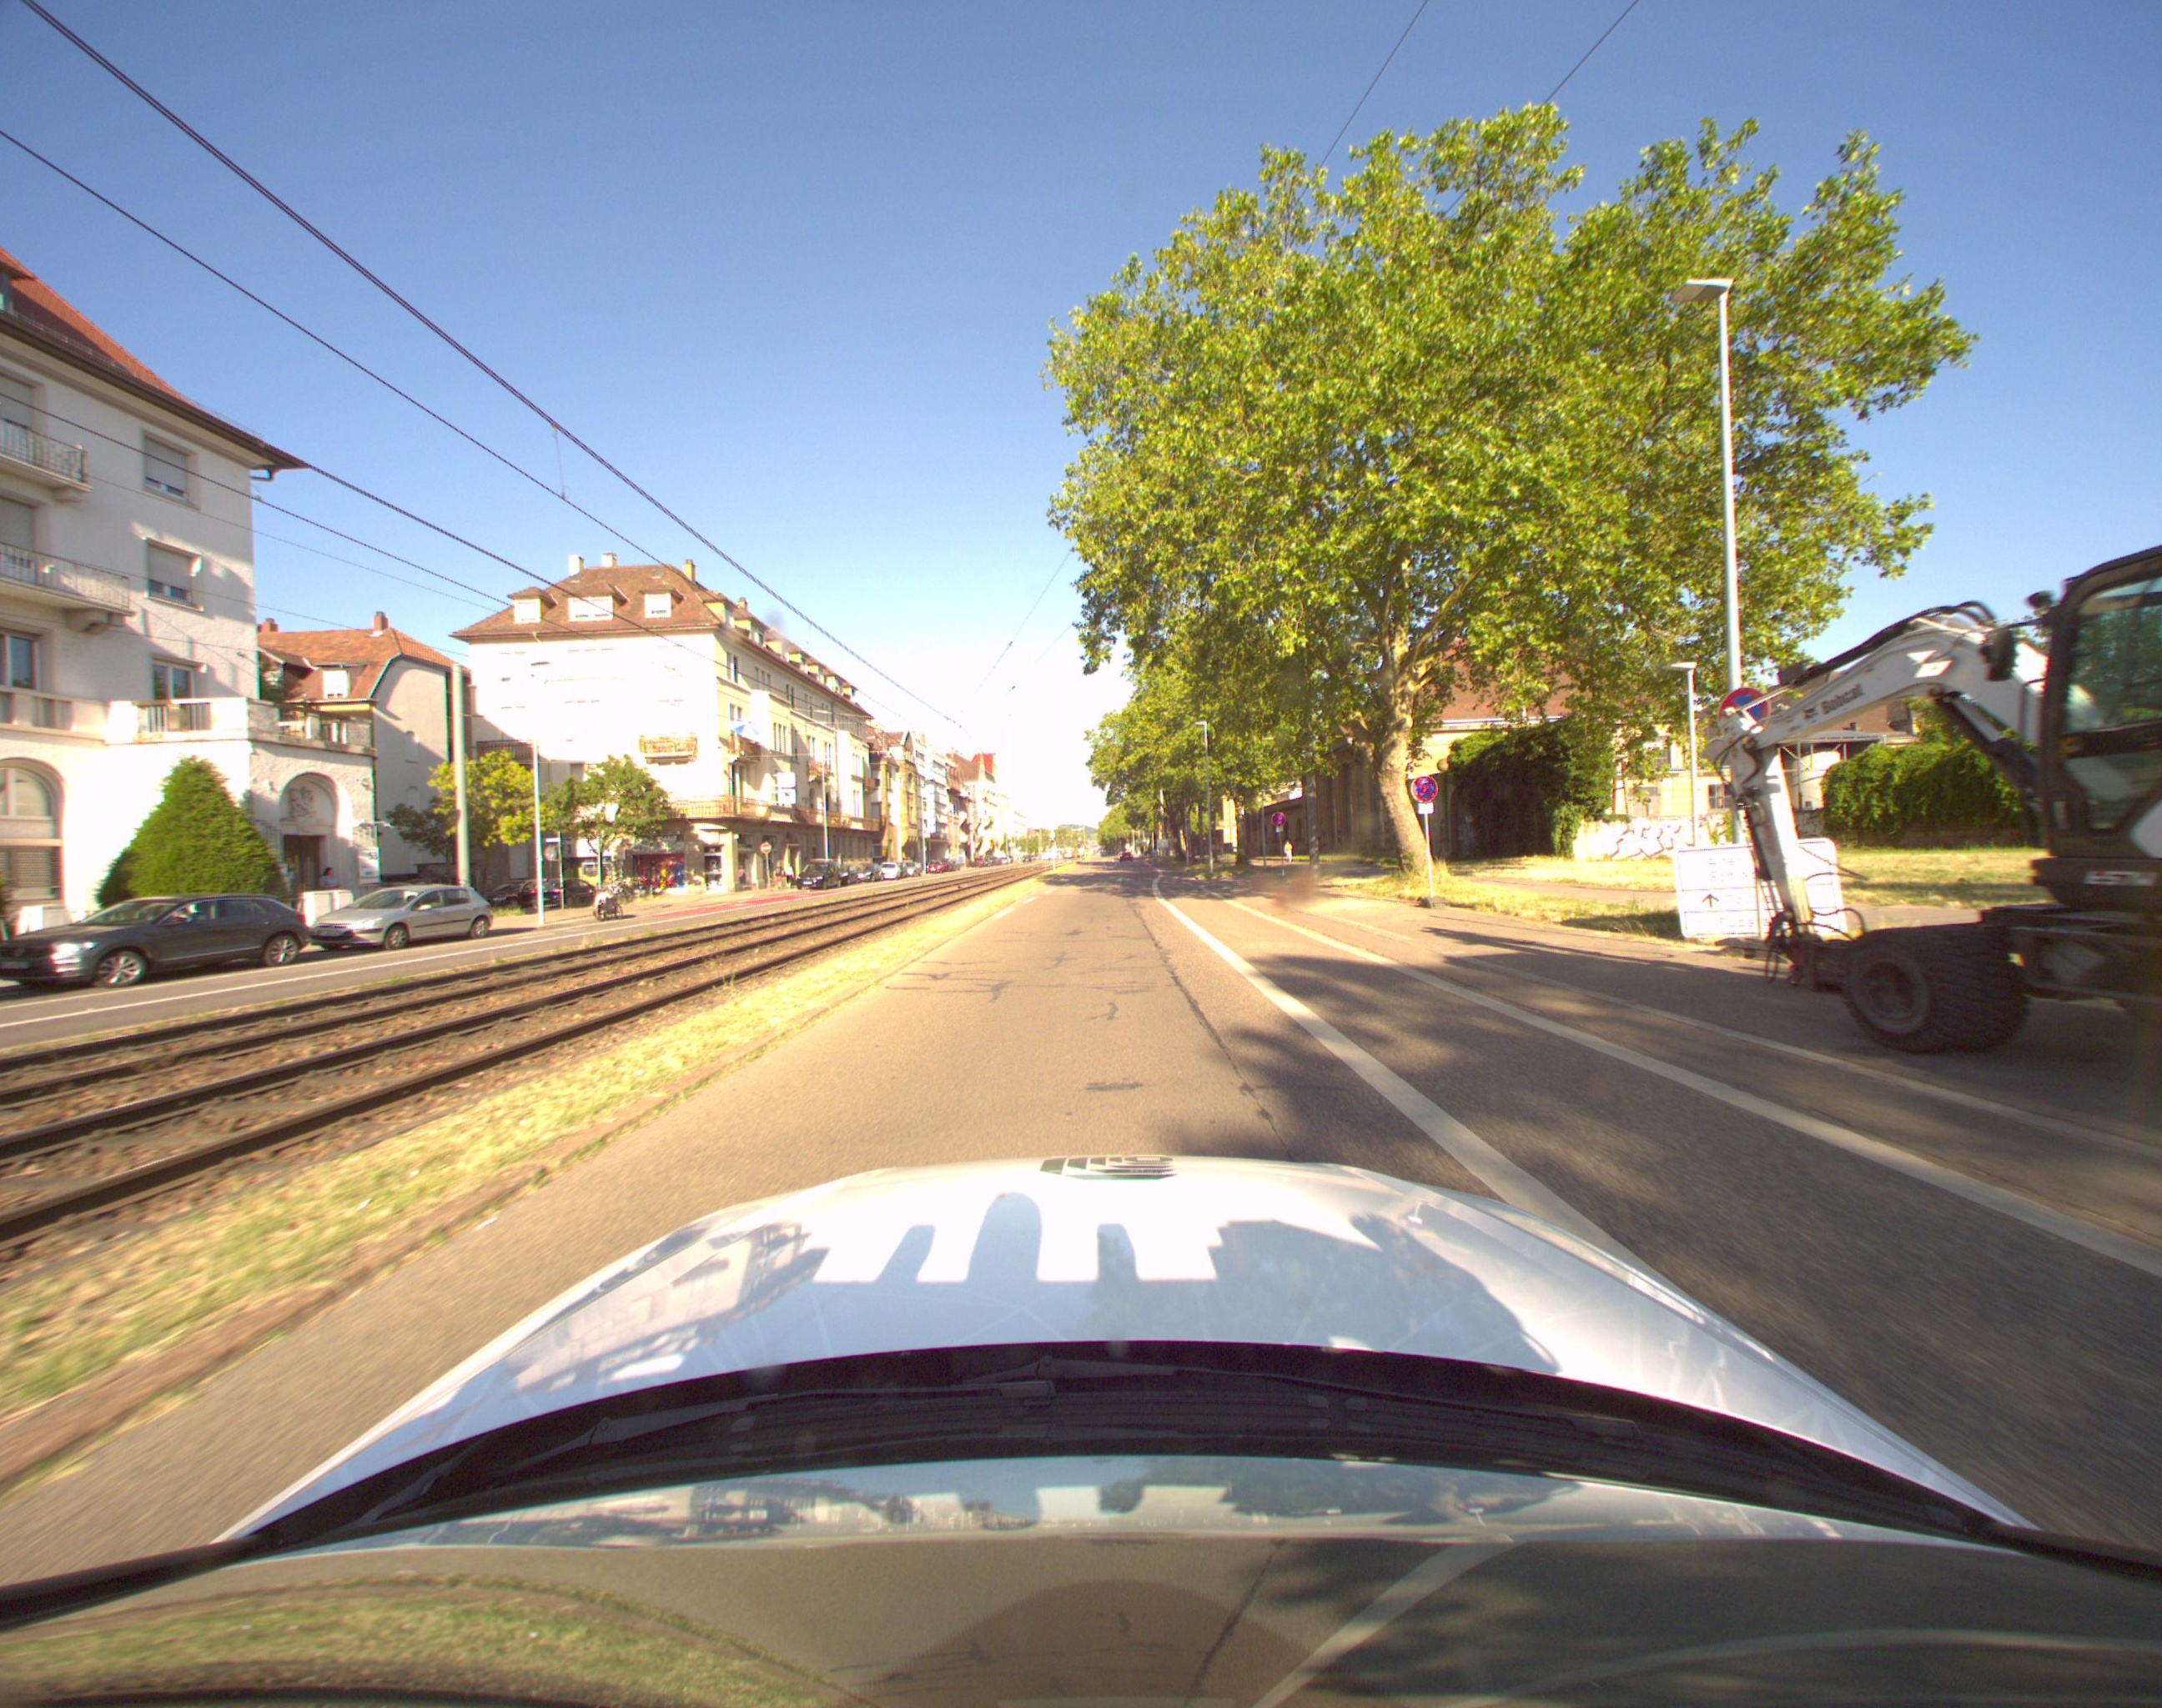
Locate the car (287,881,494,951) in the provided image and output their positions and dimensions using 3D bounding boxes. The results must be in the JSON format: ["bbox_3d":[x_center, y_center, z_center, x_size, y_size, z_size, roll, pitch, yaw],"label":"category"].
[{"bbox_3d":[-17.558,1.508,20.998,1.787,1.510,4.002,-1,-1,2],"label":"car"}]

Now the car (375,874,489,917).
[{"bbox_3d":[-33.856,2.113,42.685,2.052,2.041,4.894,-3,-1,-1],"label":"car"}]

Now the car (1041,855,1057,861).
[{"bbox_3d":[-8.152,1.062,207.811,3.948,1.510,1.811,-1,-1,36],"label":"car"}]

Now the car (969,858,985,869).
[{"bbox_3d":[-15.769,1.429,123.820,1.788,1.460,4.266,1,0,0],"label":"car"}]

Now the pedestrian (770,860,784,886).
[{"bbox_3d":[-19.974,1.221,53.516,0.587,1.697,0.858,-1,-1,3],"label":"pedestrian"}]

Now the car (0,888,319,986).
[{"bbox_3d":[-17.538,1.475,15.686,1.628,1.507,4.162,-1,-1,3],"label":"car"}]

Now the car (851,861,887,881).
[{"bbox_3d":[-16.668,1.331,64.264,1.629,1.469,4.159,1,0,1],"label":"car"}]

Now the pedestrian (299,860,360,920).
[{"bbox_3d":[-22.905,1.072,24.846,0.990,1.778,0.933,0,-1,-7],"label":"pedestrian"}]

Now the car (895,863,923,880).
[{"bbox_3d":[-16.521,1.660,78.388,1.629,1.469,4.161,-1,0,2],"label":"car"}]

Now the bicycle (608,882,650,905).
[{"bbox_3d":[-23.095,2.021,41.666,0.681,1.016,2.415,-1,0,4],"label":"bicycle"}]

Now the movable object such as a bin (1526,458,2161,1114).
[{"bbox_3d":[6.642,-0.429,6.030,2.734,3.145,7.223,-6,0,2],"label":"movable object such as a bin"}]

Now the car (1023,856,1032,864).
[{"bbox_3d":[-11.286,1.239,171.782,1.630,1.601,4.157,-4,0,-1],"label":"car"}]

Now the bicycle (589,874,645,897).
[{"bbox_3d":[-26.626,1.802,46.763,2.865,1.161,0.754,-3,0,7],"label":"bicycle"}]

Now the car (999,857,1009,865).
[{"bbox_3d":[-14.806,1.320,157.436,1.790,1.510,3.995,1,0,-3],"label":"car"}]

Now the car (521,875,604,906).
[{"bbox_3d":[-27.060,1.888,42.676,1.768,1.464,4.242,0,-1,-2],"label":"car"}]

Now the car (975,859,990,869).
[{"bbox_3d":[-15.619,1.520,128.760,1.788,1.510,4.001,1,0,1],"label":"car"}]

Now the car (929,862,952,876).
[{"bbox_3d":[-16.528,1.769,96.109,1.826,1.558,4.355,-1,0,2],"label":"car"}]

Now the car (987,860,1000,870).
[{"bbox_3d":[-14.926,1.884,139.103,1.680,1.652,4.200,1,0,1],"label":"car"}]

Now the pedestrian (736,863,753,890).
[{"bbox_3d":[-21.423,1.431,51.902,0.637,1.661,0.955,-1,-1,3],"label":"pedestrian"}]

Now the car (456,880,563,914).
[{"bbox_3d":[-29.758,2.188,42.624,2.051,1.510,4.896,-3,-1,1],"label":"car"}]

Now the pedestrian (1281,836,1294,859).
[{"bbox_3d":[15.539,-0.495,61.363,0.606,1.681,0.636,-6,0,-1],"label":"pedestrian"}]

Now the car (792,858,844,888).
[{"bbox_3d":[-16.914,1.204,52.599,1.856,1.786,4.401,0,1,0],"label":"car"}]

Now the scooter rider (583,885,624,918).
[{"bbox_3d":[-16.552,1.646,28.214,0.966,1.089,0.813,-3,0,32],"label":"scooter rider"}]

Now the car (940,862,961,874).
[{"bbox_3d":[-16.245,1.723,101.453,1.827,1.391,4.682,-2,0,1],"label":"car"}]

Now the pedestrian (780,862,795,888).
[{"bbox_3d":[-19.289,1.355,53.507,0.587,1.697,0.858,-1,-1,3],"label":"pedestrian"}]

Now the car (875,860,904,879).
[{"bbox_3d":[-16.240,1.298,69.194,1.632,1.469,3.978,-4,0,-3],"label":"car"}]

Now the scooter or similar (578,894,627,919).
[{"bbox_3d":[-16.580,1.822,28.233,1.549,0.770,0.813,-3,0,32],"label":"scooter or similar"}]

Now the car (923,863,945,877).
[{"bbox_3d":[-16.337,1.779,90.628,1.829,1.391,4.030,1,0,-4],"label":"car"}]

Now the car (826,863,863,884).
[{"bbox_3d":[-16.944,1.346,58.489,1.622,1.391,3.508,1,0,0],"label":"car"}]

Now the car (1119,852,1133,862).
[{"bbox_3d":[6.427,0.410,116.594,1.827,1.391,4.159,-2,0,1],"label":"car"}]
